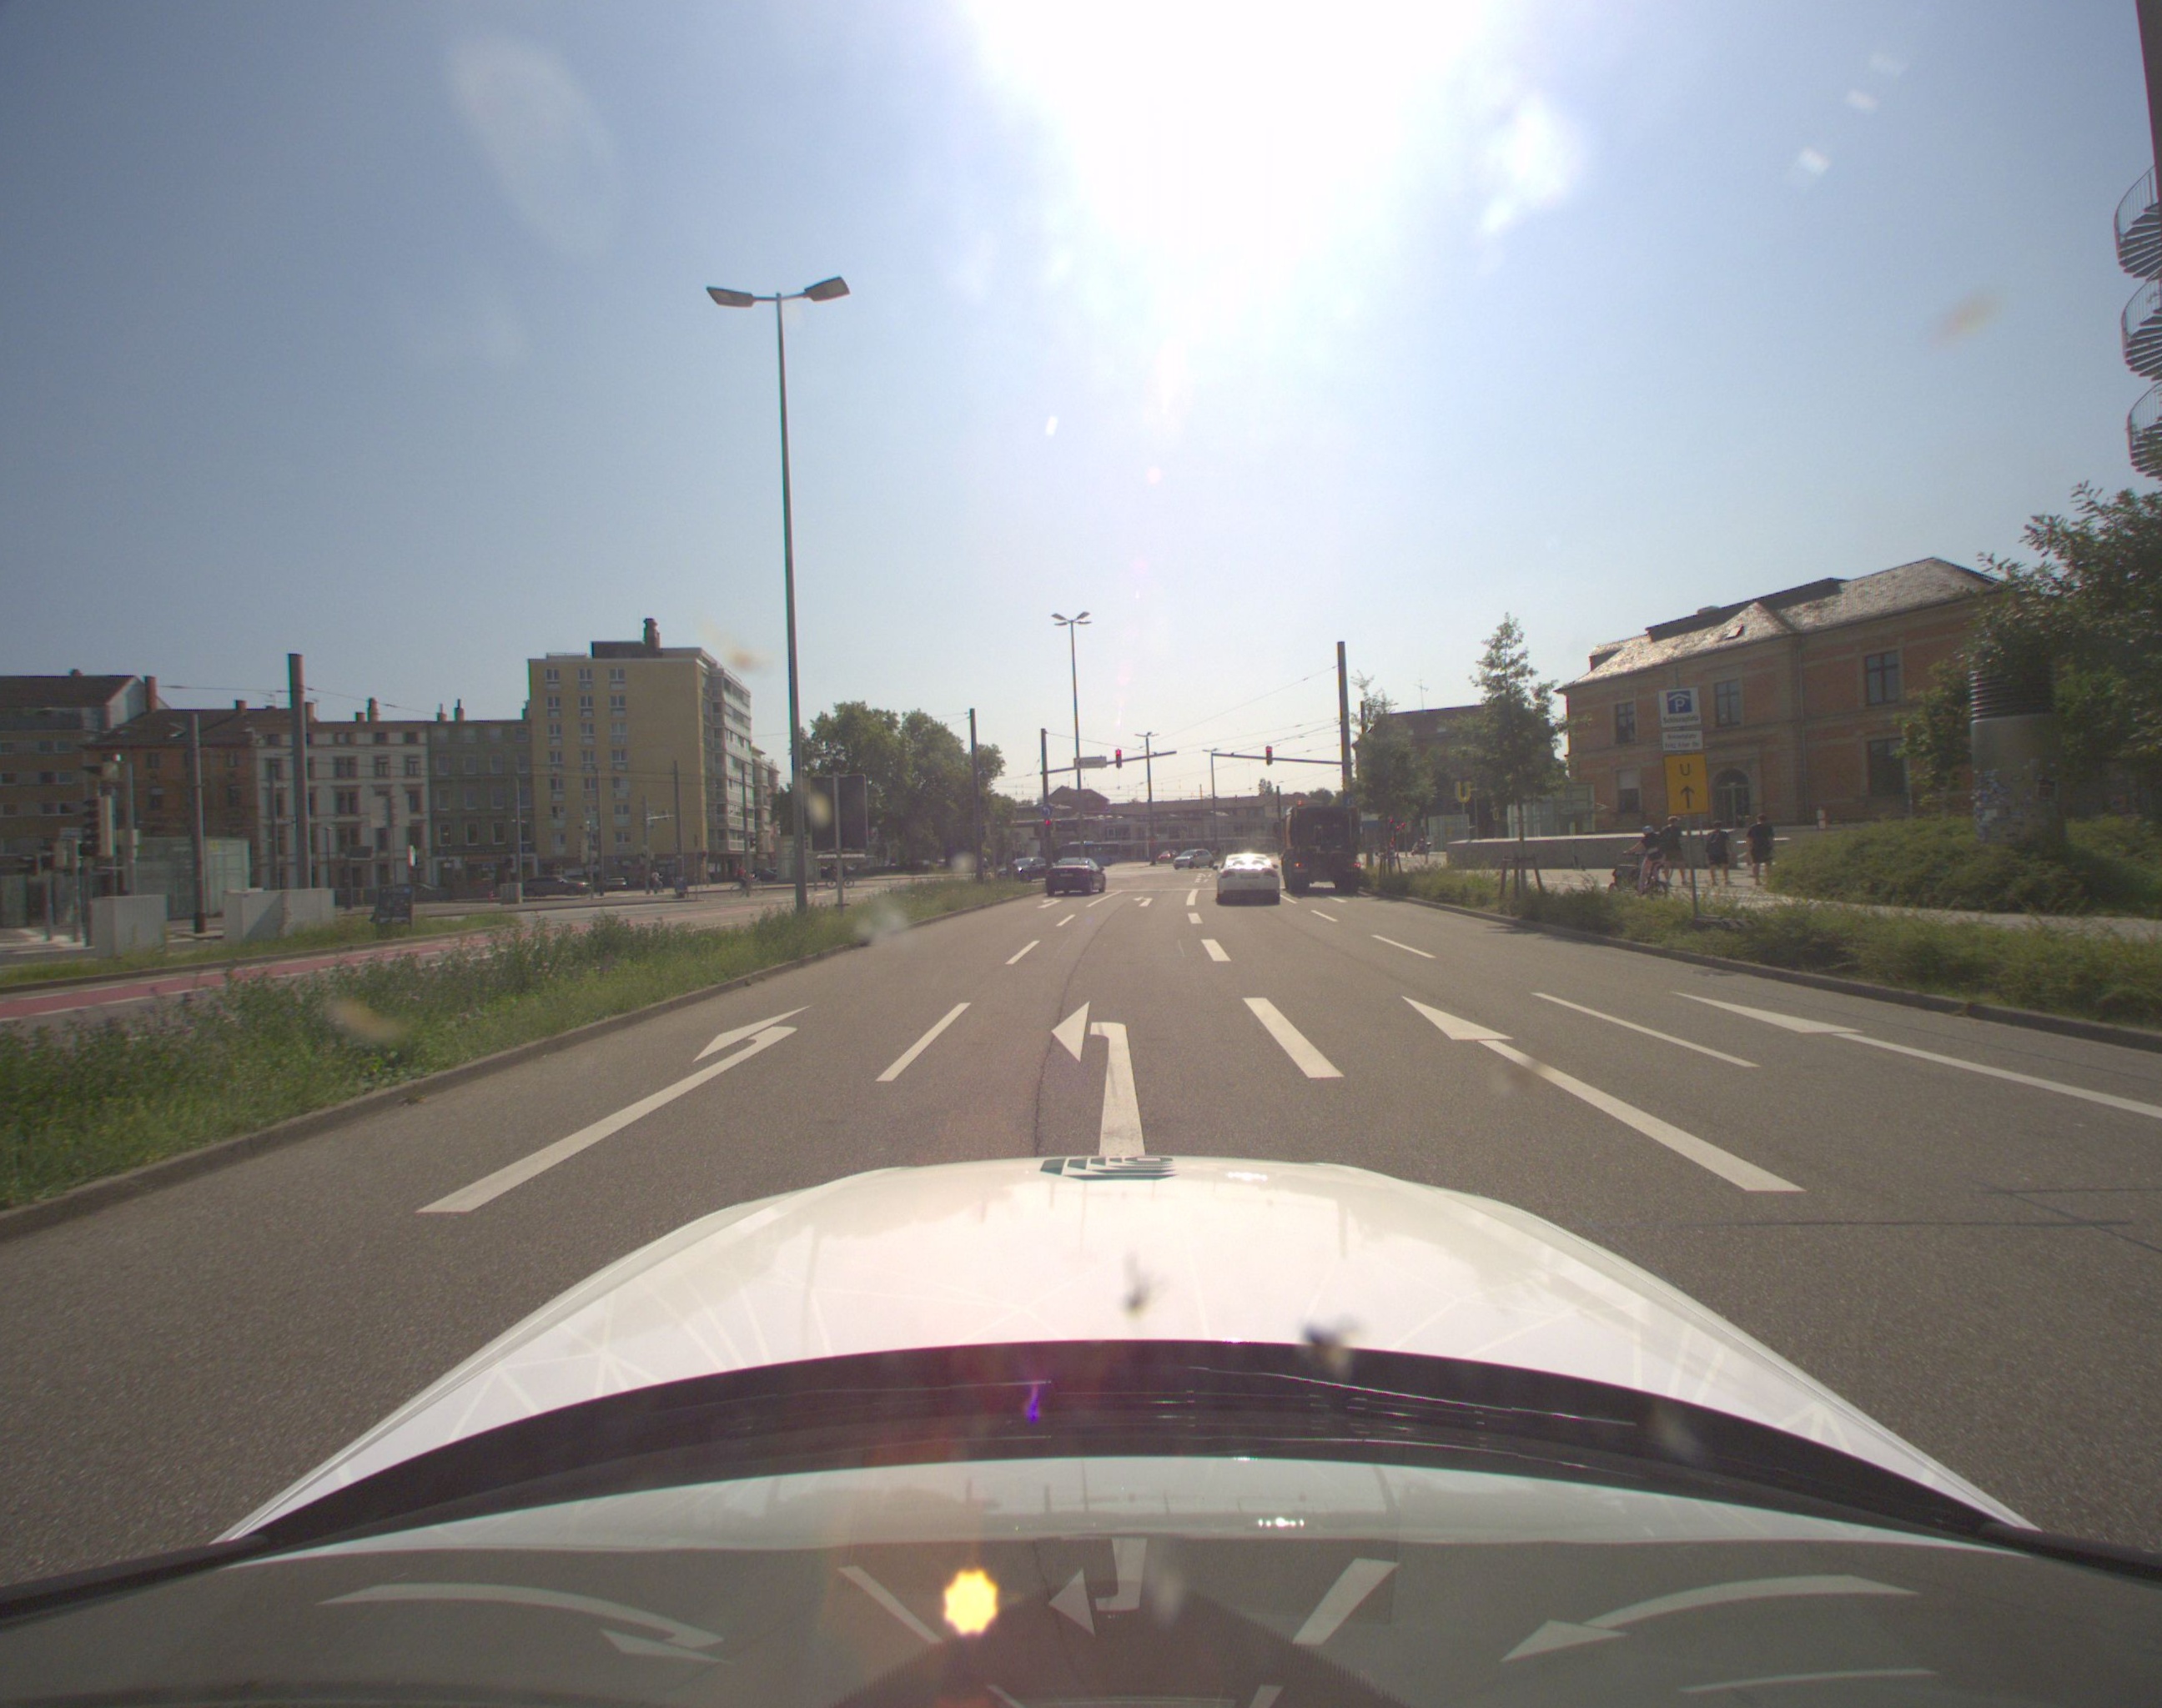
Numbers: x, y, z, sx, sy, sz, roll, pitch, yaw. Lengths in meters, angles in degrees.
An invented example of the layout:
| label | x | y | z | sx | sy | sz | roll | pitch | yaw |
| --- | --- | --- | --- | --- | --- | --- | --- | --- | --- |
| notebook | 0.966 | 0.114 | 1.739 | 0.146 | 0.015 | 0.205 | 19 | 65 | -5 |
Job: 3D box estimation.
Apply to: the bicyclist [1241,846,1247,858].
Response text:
| label | x | y | z | sx | sy | sz | roll | pitch | yaw |
| --- | --- | --- | --- | --- | --- | --- | --- | --- | --- |
| bicyclist | 16.975 | -0.190 | 84.975 | 0.498 | 1.188 | 0.510 | -2 | 0 | 24 |

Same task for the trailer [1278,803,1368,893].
| label | x | y | z | sx | sy | sz | roll | pitch | yaw |
| --- | --- | --- | --- | --- | --- | --- | --- | --- | --- |
| trailer | 8.890 | -0.219 | 30.542 | 2.448 | 3.007 | 6.342 | -1 | 0 | 9 |

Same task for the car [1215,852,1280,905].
| label | x | y | z | sx | sy | sz | roll | pitch | yaw |
| --- | --- | --- | --- | --- | --- | --- | --- | --- | --- |
| car | 5.094 | 0.697 | 25.381 | 1.747 | 1.455 | 4.437 | -2 | 0 | 9 |

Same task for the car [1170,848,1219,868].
| label | x | y | z | sx | sy | sz | roll | pitch | yaw |
| --- | --- | --- | --- | --- | --- | --- | --- | --- | --- |
| car | 9.186 | 0.292 | 65.809 | 4.090 | 1.425 | 1.754 | -2 | 0 | -44 |

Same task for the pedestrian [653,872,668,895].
| label | x | y | z | sx | sy | sz | roll | pitch | yaw |
| --- | --- | --- | --- | --- | --- | --- | --- | --- | --- |
| pedestrian | -30.107 | 2.099 | 58.301 | 0.648 | 1.633 | 0.812 | -2 | 0 | -9 |

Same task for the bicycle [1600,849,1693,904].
| label | x | y | z | sx | sy | sz | roll | pitch | yaw |
| --- | --- | --- | --- | --- | --- | --- | --- | --- | --- |
| bicycle | 11.859 | 0.447 | 17.170 | 0.554 | 1.060 | 2.004 | -3 | 0 | 1 |

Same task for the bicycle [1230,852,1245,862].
| label | x | y | z | sx | sy | sz | roll | pitch | yaw |
| --- | --- | --- | --- | --- | --- | --- | --- | --- | --- |
| bicycle | 16.673 | 0.333 | 86.778 | 1.597 | 0.985 | 0.503 | -2 | 0 | -22 |

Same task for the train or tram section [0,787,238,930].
| label | x | y | z | sx | sy | sz | roll | pitch | yaw |
| --- | --- | --- | --- | --- | --- | --- | --- | --- | --- |
| train or tram section | -28.226 | 0.202 | 21.097 | 3.104 | 3.569 | 8.299 | -4 | 0 | 34 |

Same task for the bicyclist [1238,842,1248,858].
| label | x | y | z | sx | sy | sz | roll | pitch | yaw |
| --- | --- | --- | --- | --- | --- | --- | --- | --- | --- |
| bicyclist | 17.667 | -0.429 | 88.863 | 0.761 | 1.634 | 0.761 | -2 | 0 | -7 |

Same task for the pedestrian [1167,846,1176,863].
| label | x | y | z | sx | sy | sz | roll | pitch | yaw |
| --- | --- | --- | --- | --- | --- | --- | --- | --- | --- |
| pedestrian | 9.837 | 0.075 | 88.411 | 0.776 | 1.752 | 0.813 | -2 | 0 | 23 |

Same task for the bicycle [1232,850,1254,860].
| label | x | y | z | sx | sy | sz | roll | pitch | yaw |
| --- | --- | --- | --- | --- | --- | --- | --- | --- | --- |
| bicycle | 17.686 | 0.107 | 88.861 | 2.195 | 1.087 | 0.761 | -2 | 0 | -8 |

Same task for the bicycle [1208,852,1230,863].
| label | x | y | z | sx | sy | sz | roll | pitch | yaw |
| --- | --- | --- | --- | --- | --- | --- | --- | --- | --- |
| bicycle | 14.785 | 0.407 | 87.483 | 2.198 | 1.087 | 0.760 | -2 | 0 | -11 |

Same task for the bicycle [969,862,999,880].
| label | x | y | z | sx | sy | sz | roll | pitch | yaw |
| --- | --- | --- | --- | --- | --- | --- | --- | --- | --- |
| bicycle | -6.661 | 1.133 | 55.777 | 0.690 | 1.137 | 2.056 | -3 | 0 | 42 |

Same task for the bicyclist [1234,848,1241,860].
| label | x | y | z | sx | sy | sz | roll | pitch | yaw |
| --- | --- | --- | --- | --- | --- | --- | --- | --- | --- |
| bicyclist | 16.672 | 0.041 | 86.789 | 0.596 | 1.247 | 0.503 | -2 | 0 | -22 |

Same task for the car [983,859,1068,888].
| label | x | y | z | sx | sy | sz | roll | pitch | yaw |
| --- | --- | --- | --- | --- | --- | --- | --- | --- | --- |
| car | -3.176 | 1.131 | 47.292 | 4.587 | 1.438 | 1.977 | -2 | 0 | -39 |

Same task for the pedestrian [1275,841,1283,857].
| label | x | y | z | sx | sy | sz | roll | pitch | yaw |
| --- | --- | --- | --- | --- | --- | --- | --- | --- | --- |
| pedestrian | 22.241 | -0.584 | 91.530 | 0.621 | 1.752 | 0.626 | -2 | 0 | -8 |

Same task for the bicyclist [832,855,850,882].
| label | x | y | z | sx | sy | sz | roll | pitch | yaw |
| --- | --- | --- | --- | --- | --- | --- | --- | --- | --- |
| bicyclist | -15.011 | 0.911 | 50.940 | 0.977 | 1.654 | 0.657 | -2 | 0 | -25 |

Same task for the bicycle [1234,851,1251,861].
| label | x | y | z | sx | sy | sz | roll | pitch | yaw |
| --- | --- | --- | --- | --- | --- | --- | --- | --- | --- |
| bicycle | 16.854 | 0.162 | 85.032 | 1.576 | 0.985 | 0.510 | -2 | 0 | 24 |

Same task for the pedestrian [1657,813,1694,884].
| label | x | y | z | sx | sy | sz | roll | pitch | yaw |
| --- | --- | --- | --- | --- | --- | --- | --- | --- | --- |
| pedestrian | 15.908 | -0.149 | 21.811 | 0.653 | 1.860 | 0.798 | -2 | 0 | 30 |

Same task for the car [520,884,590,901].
| label | x | y | z | sx | sy | sz | roll | pitch | yaw |
| --- | --- | --- | --- | --- | --- | --- | --- | --- | --- |
| car | -37.929 | 2.746 | 58.830 | 3.889 | 0.987 | 1.708 | -3 | 0 | -15 |

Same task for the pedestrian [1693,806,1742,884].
| label | x | y | z | sx | sy | sz | roll | pitch | yaw |
| --- | --- | --- | --- | --- | --- | --- | --- | --- | --- |
| pedestrian | 16.604 | -0.242 | 21.274 | 0.771 | 1.973 | 0.758 | -3 | 0 | 22 |

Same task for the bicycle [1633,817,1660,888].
| label | x | y | z | sx | sy | sz | roll | pitch | yaw |
| --- | --- | --- | --- | --- | --- | --- | --- | --- | --- |
| bicycle | 15.428 | -0.052 | 22.224 | 0.451 | 1.860 | 1.371 | -3 | 0 | 31 |

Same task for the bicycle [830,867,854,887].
| label | x | y | z | sx | sy | sz | roll | pitch | yaw |
| --- | --- | --- | --- | --- | --- | --- | --- | --- | --- |
| bicycle | -14.878 | 1.433 | 50.676 | 0.977 | 1.178 | 2.808 | -2 | 0 | -25 |

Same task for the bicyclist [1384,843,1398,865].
| label | x | y | z | sx | sy | sz | roll | pitch | yaw |
| --- | --- | --- | --- | --- | --- | --- | --- | --- | --- |
| bicyclist | 19.480 | -0.008 | 51.186 | 0.669 | 1.320 | 0.686 | -3 | 0 | 16 |

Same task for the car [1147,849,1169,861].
| label | x | y | z | sx | sy | sz | roll | pitch | yaw |
| --- | --- | --- | --- | --- | --- | --- | --- | --- | --- |
| car | 9.873 | 0.133 | 103.769 | 1.713 | 1.420 | 3.861 | -2 | 0 | 22 |

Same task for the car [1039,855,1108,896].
| label | x | y | z | sx | sy | sz | roll | pitch | yaw |
| --- | --- | --- | --- | --- | --- | --- | --- | --- | --- |
| car | -0.221 | 0.768 | 31.286 | 1.746 | 1.404 | 3.994 | -2 | 0 | 12 |

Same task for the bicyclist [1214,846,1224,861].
| label | x | y | z | sx | sy | sz | roll | pitch | yaw |
| --- | --- | --- | --- | --- | --- | --- | --- | --- | --- |
| bicyclist | 14.821 | -0.043 | 87.483 | 0.798 | 1.541 | 0.760 | -2 | 0 | -11 |

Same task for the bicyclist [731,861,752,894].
| label | x | y | z | sx | sy | sz | roll | pitch | yaw |
| --- | --- | --- | --- | --- | --- | --- | --- | --- | --- |
| bicyclist | -17.714 | 1.225 | 42.495 | 0.839 | 1.642 | 0.605 | -2 | -1 | -10 |

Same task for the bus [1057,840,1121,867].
| label | x | y | z | sx | sy | sz | roll | pitch | yaw |
| --- | --- | --- | --- | --- | --- | --- | --- | --- | --- |
| bus | 1.159 | -0.148 | 97.310 | 3.026 | 2.931 | 11.921 | -2 | 0 | 25 |

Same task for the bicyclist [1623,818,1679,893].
| label | x | y | z | sx | sy | sz | roll | pitch | yaw |
| --- | --- | --- | --- | --- | --- | --- | --- | --- | --- |
| bicyclist | 11.833 | 0.025 | 16.921 | 0.547 | 1.496 | 0.804 | -2 | 0 | 1 |

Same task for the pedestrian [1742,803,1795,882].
| label | x | y | z | sx | sy | sz | roll | pitch | yaw |
| --- | --- | --- | --- | --- | --- | --- | --- | --- | --- |
| pedestrian | 17.705 | -0.282 | 20.986 | 0.771 | 1.973 | 0.758 | -3 | 0 | 22 |

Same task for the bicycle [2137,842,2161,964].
| label | x | y | z | sx | sy | sz | roll | pitch | yaw |
| --- | --- | --- | --- | --- | --- | --- | --- | --- | --- |
| bicycle | 10.683 | 0.454 | 6.754 | 0.691 | 1.155 | 2.371 | -4 | 0 | 0 |

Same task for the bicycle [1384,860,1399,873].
| label | x | y | z | sx | sy | sz | roll | pitch | yaw |
| --- | --- | --- | --- | --- | --- | --- | --- | --- | --- |
| bicycle | 19.534 | 0.772 | 51.239 | 0.669 | 0.776 | 2.137 | -3 | 0 | 17 |

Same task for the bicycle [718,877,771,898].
| label | x | y | z | sx | sy | sz | roll | pitch | yaw |
| --- | --- | --- | --- | --- | --- | --- | --- | --- | --- |
| bicycle | -17.541 | 1.750 | 42.512 | 2.409 | 0.953 | 0.602 | -3 | 0 | -10 |

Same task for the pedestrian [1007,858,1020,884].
| label | x | y | z | sx | sy | sz | roll | pitch | yaw |
| --- | --- | --- | --- | --- | --- | --- | --- | --- | --- |
| pedestrian | -3.459 | 0.851 | 41.802 | 0.596 | 1.268 | 0.503 | -3 | 2 | -10 |

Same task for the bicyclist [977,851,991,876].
| label | x | y | z | sx | sy | sz | roll | pitch | yaw |
| --- | --- | --- | --- | --- | --- | --- | --- | --- | --- |
| bicyclist | -6.640 | 0.634 | 55.818 | 0.684 | 1.650 | 0.623 | -2 | 0 | 43 |
